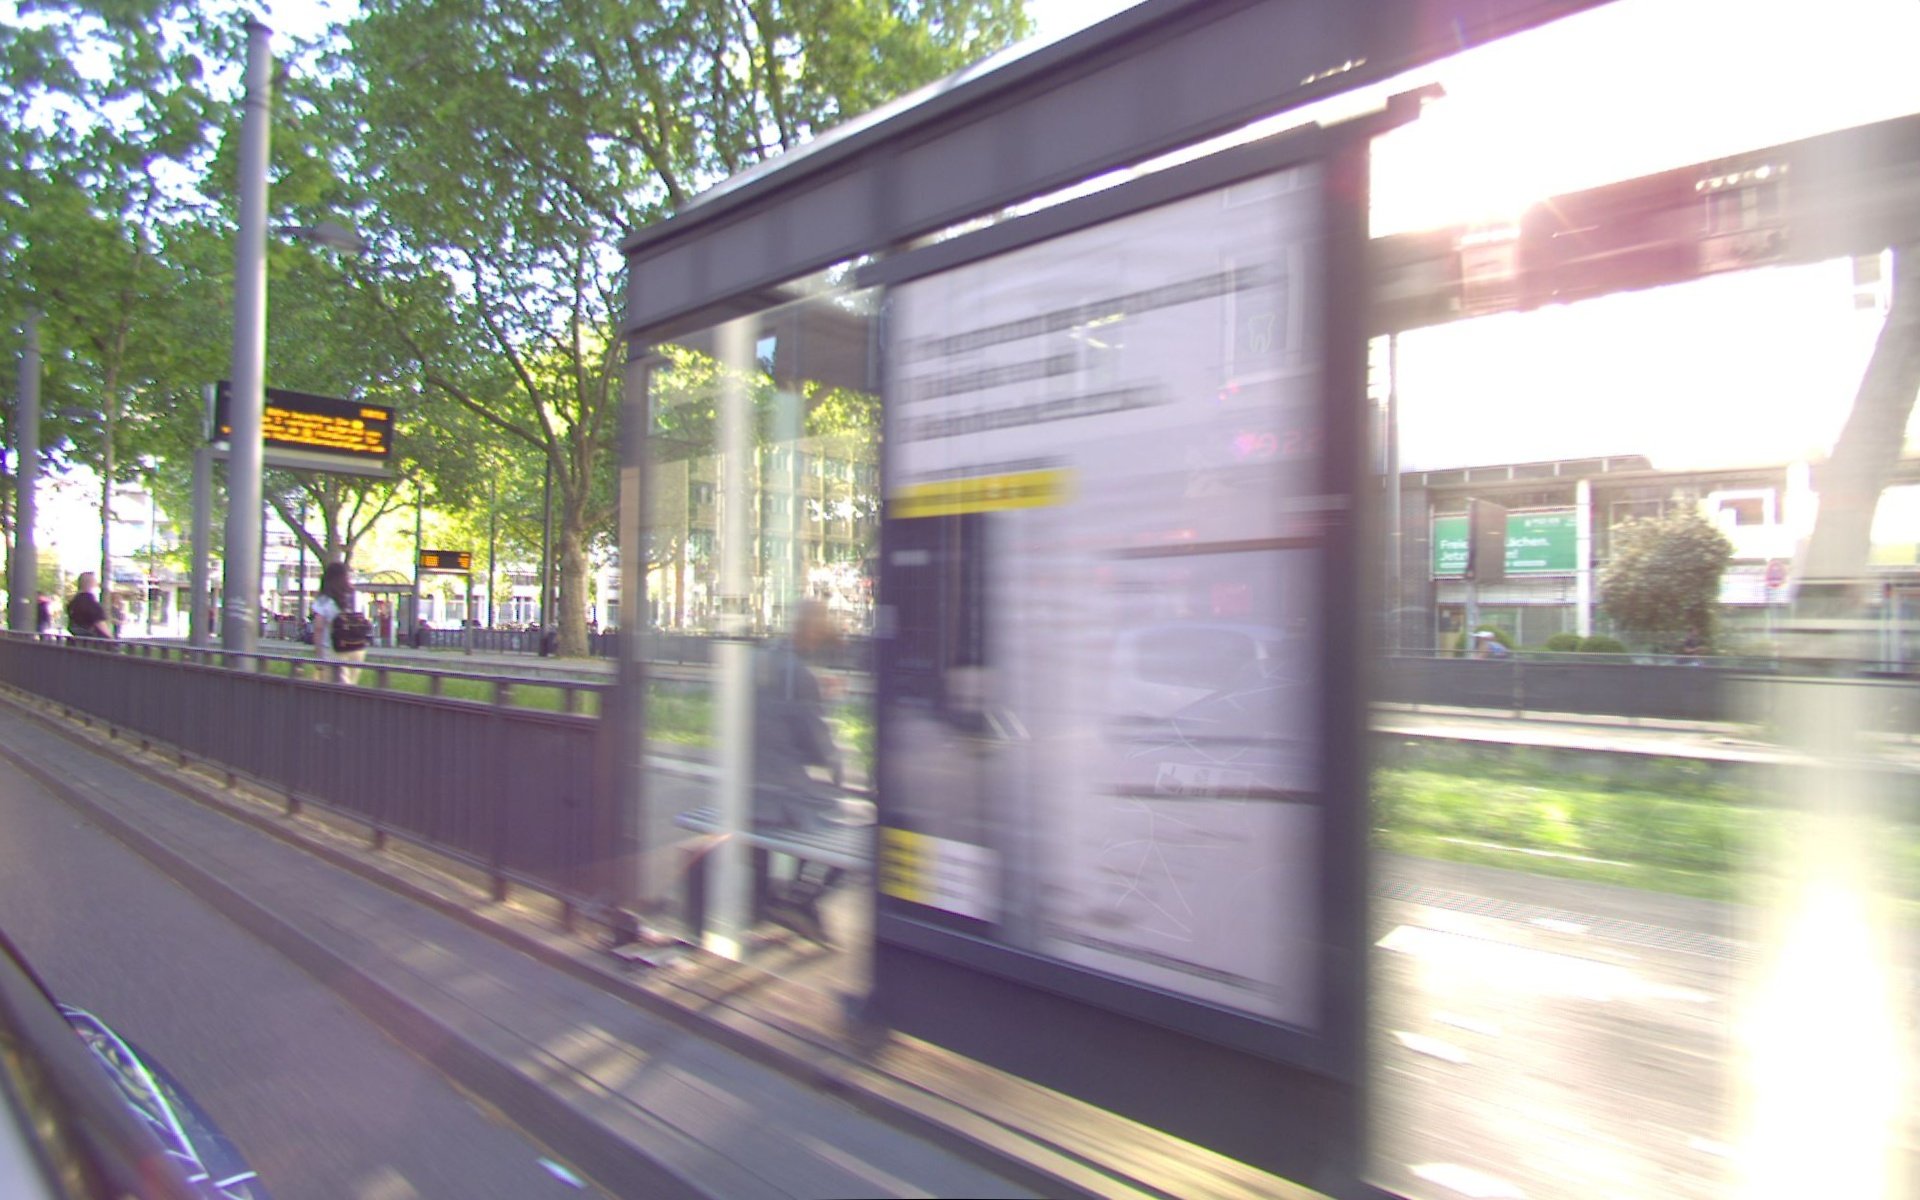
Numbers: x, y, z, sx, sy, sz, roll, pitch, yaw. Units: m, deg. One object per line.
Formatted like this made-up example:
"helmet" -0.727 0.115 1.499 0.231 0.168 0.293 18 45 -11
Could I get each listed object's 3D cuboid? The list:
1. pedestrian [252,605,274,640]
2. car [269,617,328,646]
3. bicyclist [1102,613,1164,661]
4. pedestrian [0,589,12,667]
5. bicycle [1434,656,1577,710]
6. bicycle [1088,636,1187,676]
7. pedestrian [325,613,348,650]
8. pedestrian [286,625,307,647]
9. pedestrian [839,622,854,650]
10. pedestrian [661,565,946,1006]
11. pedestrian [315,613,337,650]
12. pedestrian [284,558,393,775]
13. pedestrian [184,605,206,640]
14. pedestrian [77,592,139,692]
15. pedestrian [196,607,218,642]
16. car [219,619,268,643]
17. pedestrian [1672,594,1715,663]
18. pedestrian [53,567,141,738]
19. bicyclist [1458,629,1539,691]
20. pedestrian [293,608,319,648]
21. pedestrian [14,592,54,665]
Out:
"pedestrian" -34.742 1.123 50.414 0.635 1.753 0.690 -1 -1 32
"car" -39.617 1.871 60.600 3.999 1.652 1.972 -1 -3 42
"bicyclist" 4.725 1.002 27.675 1.372 1.259 0.994 -1 -1 38
"pedestrian" -22.783 0.661 23.663 0.824 1.816 0.700 -1 -2 33
"bicycle" 11.601 1.735 21.595 2.582 1.004 0.793 -1 -1 38
"bicycle" 4.814 1.517 27.619 2.582 1.004 0.793 -1 -1 38
"pedestrian" -25.566 1.272 41.483 0.605 1.497 0.566 -1 -2 29
"pedestrian" -31.795 1.704 48.496 0.713 1.048 0.699 2 -2 -42
"pedestrian" -6.521 2.051 58.135 0.571 1.616 0.598 1 -2 -45
"pedestrian" -0.553 0.569 3.566 0.801 1.329 0.620 -1 -2 41
"pedestrian" -26.142 1.291 41.708 0.549 1.509 0.549 -1 -2 29
"pedestrian" -5.707 0.581 9.298 0.753 1.886 0.638 -1 -1 41
"pedestrian" -38.597 1.125 51.066 0.674 1.767 0.649 -1 -2 32
"pedestrian" -15.141 0.735 17.984 0.862 1.715 0.721 -1 -1 42
"pedestrian" -37.877 1.224 50.895 0.697 1.709 0.678 -1 -2 32
"car" -46.034 1.983 64.995 3.340 1.466 1.847 -1 -2 41
"pedestrian" 17.388 0.674 23.990 0.767 1.604 0.896 -1 -2 39
"pedestrian" -9.988 0.594 11.709 0.661 1.901 0.639 -1 -2 40
"bicyclist" 11.531 1.265 21.688 1.372 1.259 0.994 -1 -1 38
"pedestrian" -27.940 1.191 43.221 0.666 1.654 0.662 0 -1 29
"pedestrian" -24.117 0.735 26.358 0.637 1.853 0.640 -1 -2 40
